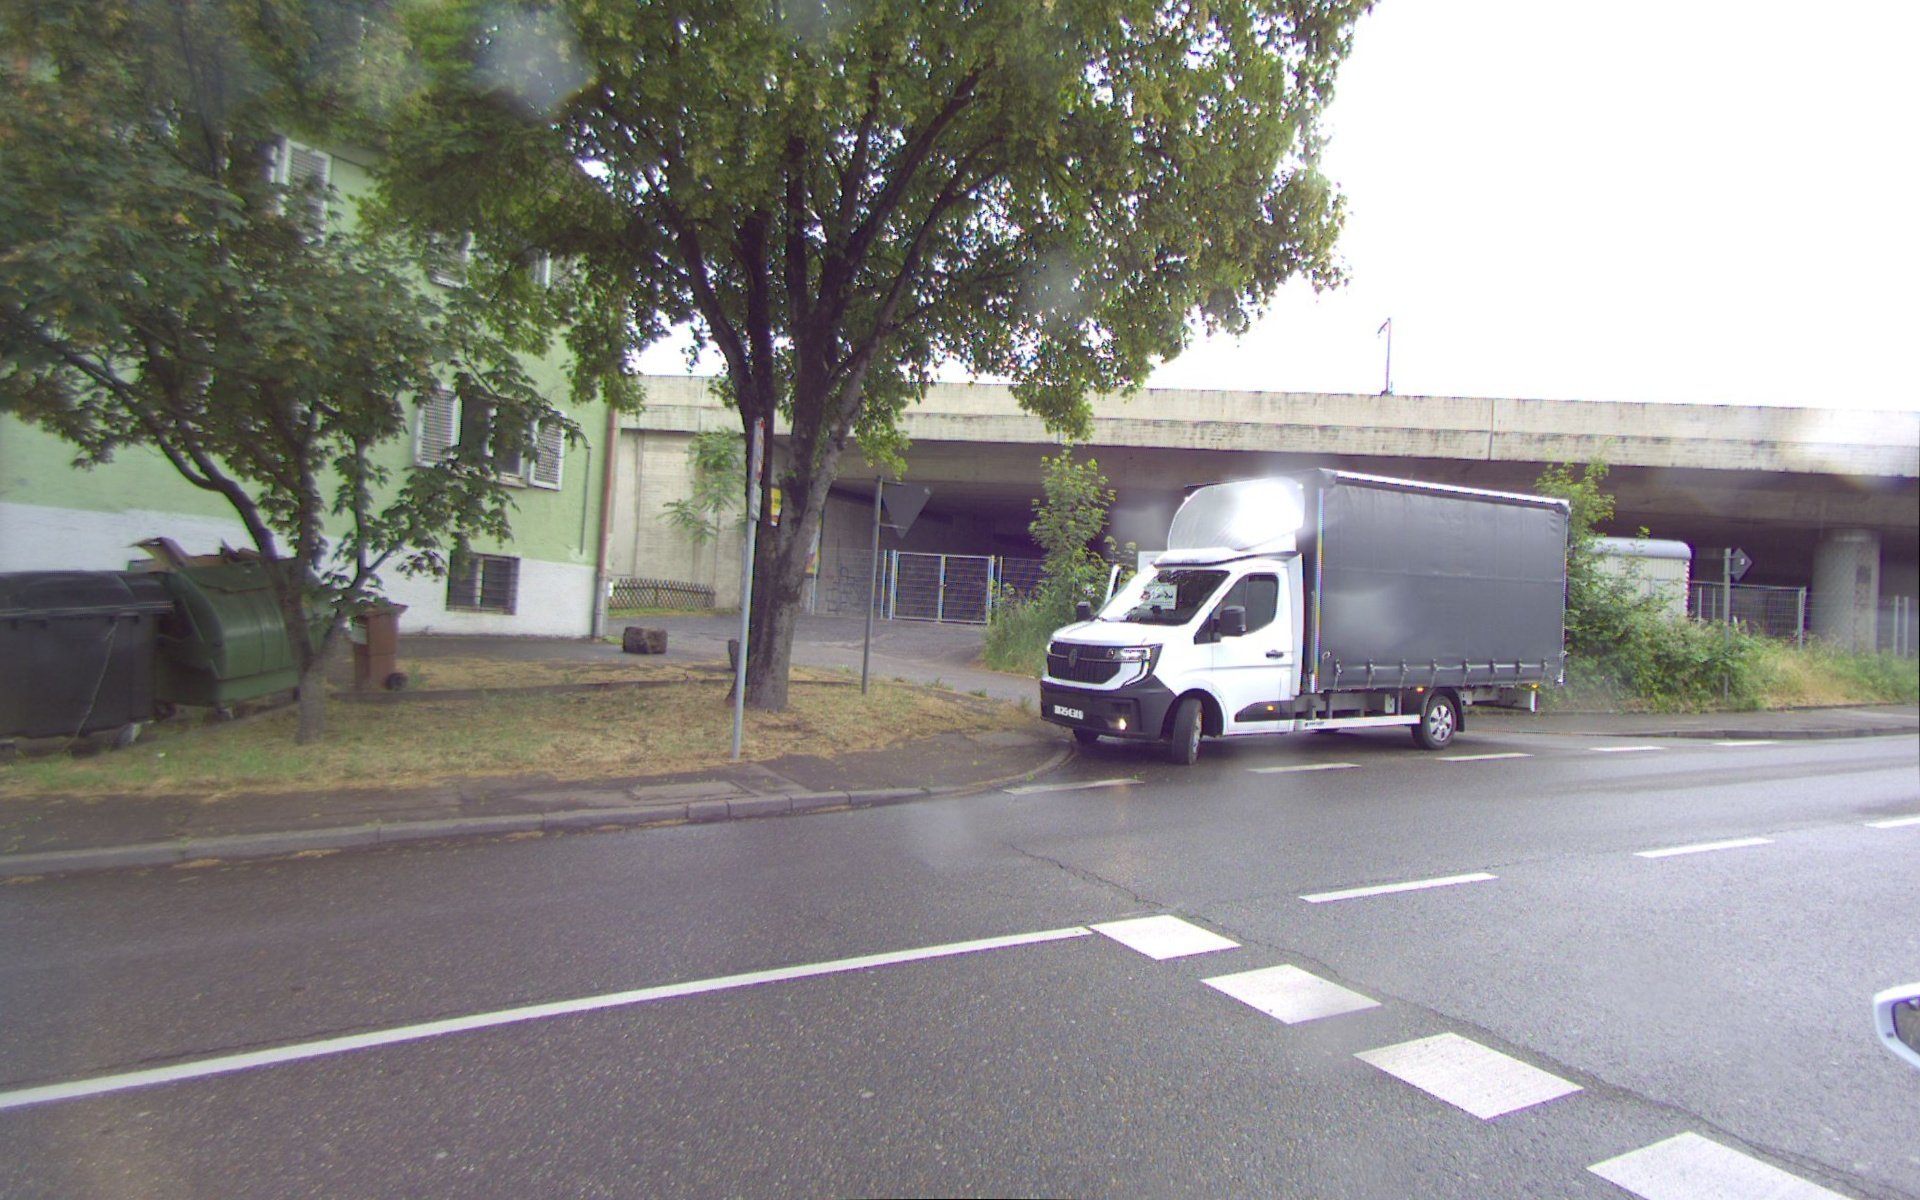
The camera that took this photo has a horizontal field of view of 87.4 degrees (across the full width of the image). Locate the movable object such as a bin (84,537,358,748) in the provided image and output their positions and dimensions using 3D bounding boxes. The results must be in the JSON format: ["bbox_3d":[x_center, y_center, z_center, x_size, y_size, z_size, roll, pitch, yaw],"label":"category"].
[{"bbox_3d":[-6.894,0.324,9.446,1.547,1.785,1.453,2,2,22],"label":"movable object such as a bin"}]

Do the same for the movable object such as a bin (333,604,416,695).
[{"bbox_3d":[-6.312,0.522,10.841,0.531,0.922,0.562,2,2,22],"label":"movable object such as a bin"}]

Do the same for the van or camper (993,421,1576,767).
[{"bbox_3d":[4.401,0.061,12.930,7.670,3.379,2.686,2,-1,-30],"label":"van or camper"}]

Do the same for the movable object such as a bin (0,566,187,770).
[{"bbox_3d":[-7.410,0.465,8.038,1.444,1.460,1.376,2,2,22],"label":"movable object such as a bin"}]
